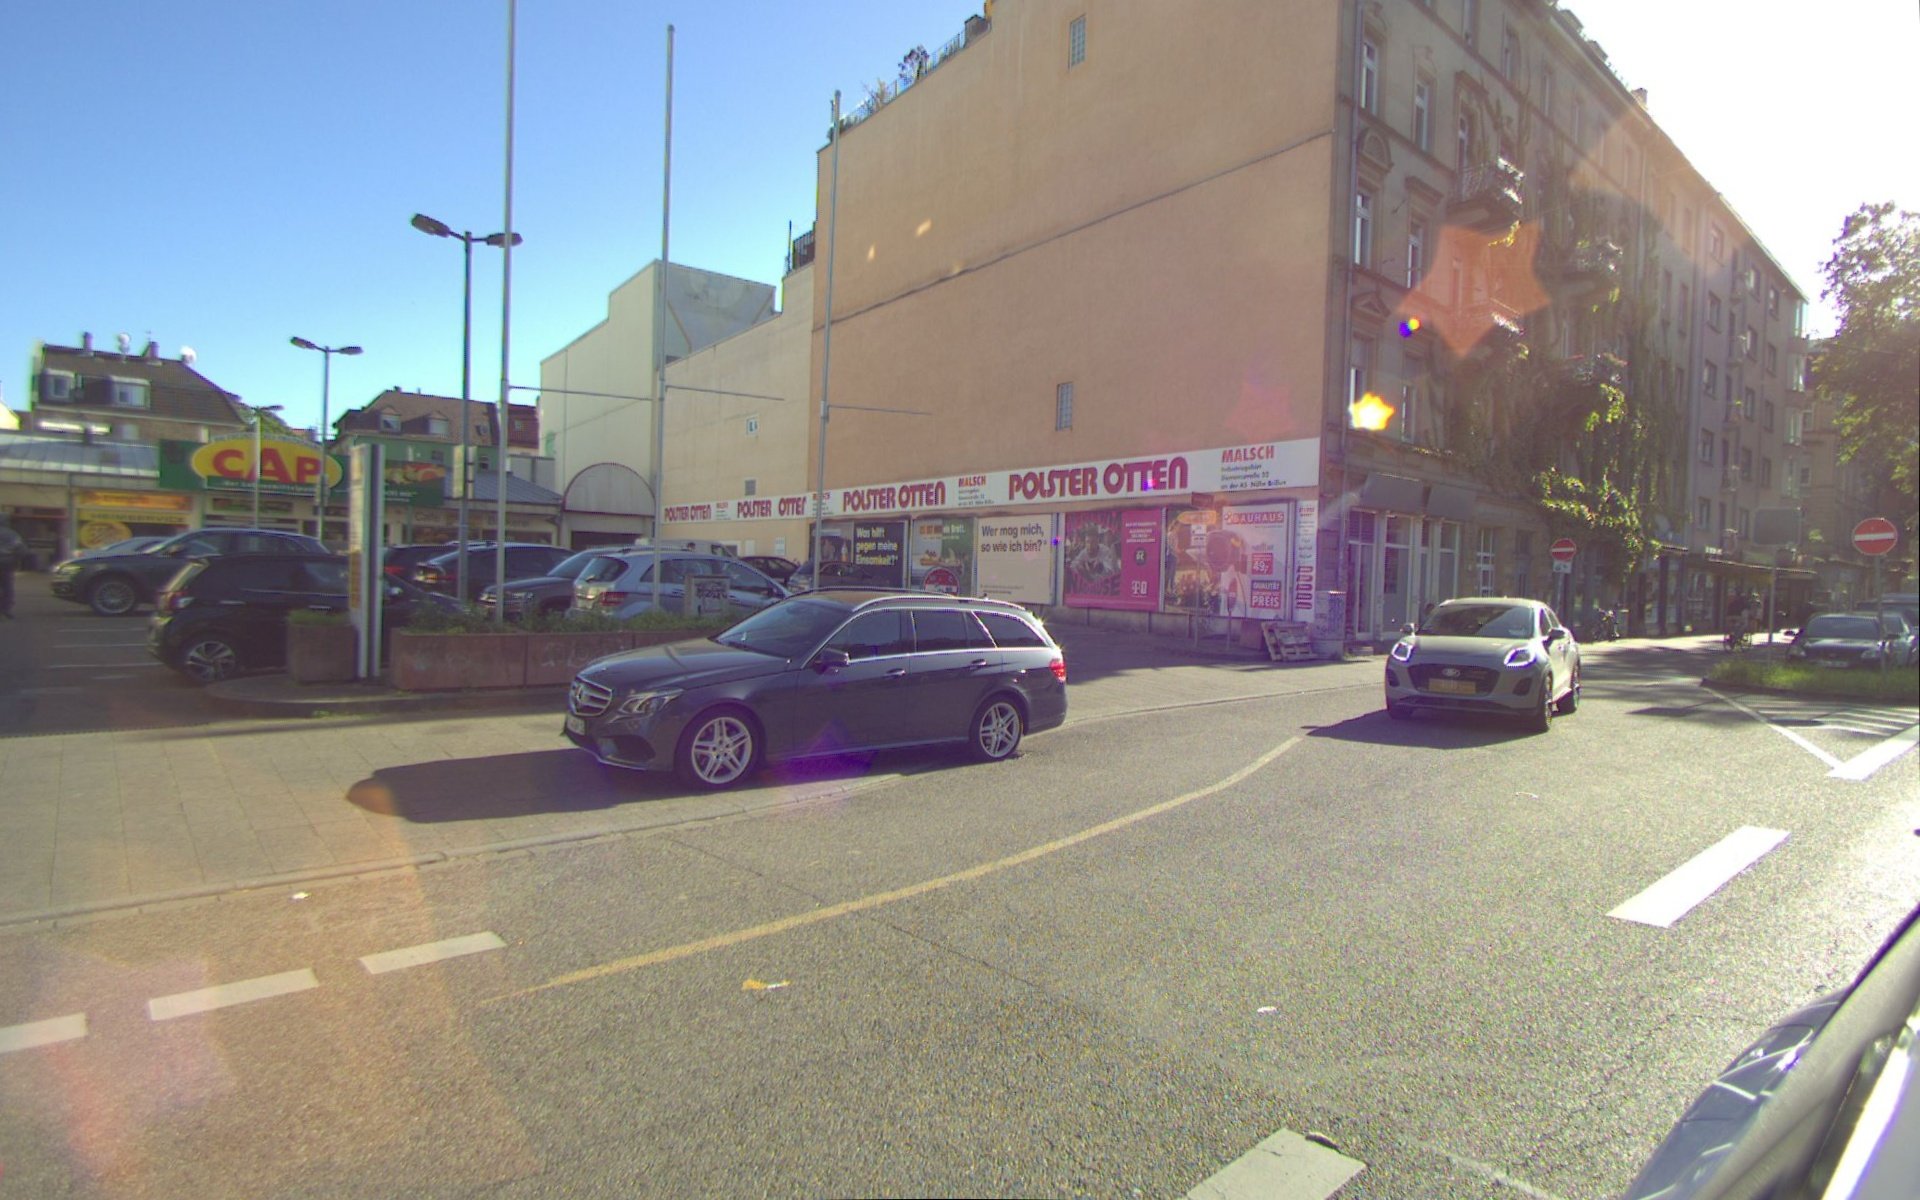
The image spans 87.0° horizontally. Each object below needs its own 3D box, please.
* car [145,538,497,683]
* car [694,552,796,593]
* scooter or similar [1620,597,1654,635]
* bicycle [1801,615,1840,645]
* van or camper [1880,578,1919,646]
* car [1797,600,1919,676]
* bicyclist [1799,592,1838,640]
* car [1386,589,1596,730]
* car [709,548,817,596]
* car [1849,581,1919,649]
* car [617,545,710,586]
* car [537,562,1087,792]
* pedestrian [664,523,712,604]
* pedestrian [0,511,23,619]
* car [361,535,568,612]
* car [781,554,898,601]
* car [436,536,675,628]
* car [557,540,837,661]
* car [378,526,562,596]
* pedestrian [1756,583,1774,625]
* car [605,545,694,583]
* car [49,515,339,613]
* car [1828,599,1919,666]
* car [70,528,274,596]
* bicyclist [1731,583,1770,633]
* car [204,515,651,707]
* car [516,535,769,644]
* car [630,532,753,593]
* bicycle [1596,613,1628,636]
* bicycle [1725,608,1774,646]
[{"bbox_3d":[-7.606,0.083,12.217,3.339,1.504,1.559,0,2,-45],"label":"car"},{"bbox_3d":[-8.415,-1.088,39.703,3.575,1.552,1.682,-1,3,-35],"label":"car"},{"bbox_3d":[22.643,0.511,33.874,0.631,1.188,1.720,2,2,25],"label":"scooter or similar"},{"bbox_3d":[27.946,0.962,32.852,1.883,0.931,0.651,1,1,-40],"label":"bicycle"},{"bbox_3d":[30.983,0.388,32.262,5.006,2.038,1.887,0,2,-42],"label":"van or camper"},{"bbox_3d":[19.836,0.772,22.301,3.932,1.537,1.642,0,-1,-43],"label":"car"},{"bbox_3d":[27.883,0.509,32.861,1.161,1.463,0.678,1,5,-41],"label":"bicyclist"},{"bbox_3d":[7.175,0.652,13.449,1.694,1.547,4.319,1,1,38],"label":"car"},{"bbox_3d":[-7.305,-1.055,37.651,3.575,1.690,1.682,-1,2,-35],"label":"car"},{"bbox_3d":[26.867,0.407,28.722,3.929,1.785,1.868,0,2,-40],"label":"car"},{"bbox_3d":[-14.134,-1.639,48.276,3.967,1.823,1.664,1,2,-30],"label":"car"},{"bbox_3d":[-1.141,0.522,9.222,4.650,1.505,1.838,0,4,-40],"label":"car"},{"bbox_3d":[-7.030,-0.928,26.173,0.907,2.039,0.818,1,1,-40],"label":"pedestrian"},{"bbox_3d":[-16.085,-0.597,16.970,0.760,1.777,0.505,3,2,44],"label":"pedestrian"},{"bbox_3d":[-10.975,-0.570,22.567,3.870,1.563,1.544,0,2,-42],"label":"car"},{"bbox_3d":[-4.033,-0.769,34.053,3.579,1.481,1.680,-1,3,-39],"label":"car"},{"bbox_3d":[-7.537,-0.341,19.069,3.871,1.563,1.544,0,2,-42],"label":"car"},{"bbox_3d":[-4.044,-0.031,15.980,3.935,1.665,1.746,0,2,-45],"label":"car"},{"bbox_3d":[-12.280,-0.945,25.499,3.870,1.601,1.659,0,2,-42],"label":"car"},{"bbox_3d":[35.422,0.173,44.533,0.507,1.856,0.469,1,1,-41],"label":"pedestrian"},{"bbox_3d":[-15.443,-1.780,50.360,3.967,1.758,1.664,1,2,-30],"label":"car"},{"bbox_3d":[-14.681,-0.652,19.581,4.306,1.687,1.758,0,2,-41],"label":"car"},{"bbox_3d":[23.083,0.758,25.233,3.932,1.537,1.740,0,-1,-43],"label":"car"},{"bbox_3d":[-19.701,-0.918,25.416,3.930,1.538,1.725,0,2,-41],"label":"car"},{"bbox_3d":[24.312,0.227,31.119,0.934,1.480,0.746,0,1,-39],"label":"bicyclist"},{"bbox_3d":[-5.499,0.098,10.760,3.839,1.665,1.652,2,2,-45],"label":"car"},{"bbox_3d":[-5.568,-0.202,18.047,3.933,1.714,1.747,0,2,-44],"label":"car"},{"bbox_3d":[-11.523,-1.586,43.606,4.790,2.442,1.711,1,2,-35],"label":"car"},{"bbox_3d":[21.234,0.790,32.942,1.486,0.714,0.469,0,1,-41],"label":"bicycle"},{"bbox_3d":[24.326,0.812,31.168,1.918,1.116,0.758,1,1,-39],"label":"bicycle"}]
